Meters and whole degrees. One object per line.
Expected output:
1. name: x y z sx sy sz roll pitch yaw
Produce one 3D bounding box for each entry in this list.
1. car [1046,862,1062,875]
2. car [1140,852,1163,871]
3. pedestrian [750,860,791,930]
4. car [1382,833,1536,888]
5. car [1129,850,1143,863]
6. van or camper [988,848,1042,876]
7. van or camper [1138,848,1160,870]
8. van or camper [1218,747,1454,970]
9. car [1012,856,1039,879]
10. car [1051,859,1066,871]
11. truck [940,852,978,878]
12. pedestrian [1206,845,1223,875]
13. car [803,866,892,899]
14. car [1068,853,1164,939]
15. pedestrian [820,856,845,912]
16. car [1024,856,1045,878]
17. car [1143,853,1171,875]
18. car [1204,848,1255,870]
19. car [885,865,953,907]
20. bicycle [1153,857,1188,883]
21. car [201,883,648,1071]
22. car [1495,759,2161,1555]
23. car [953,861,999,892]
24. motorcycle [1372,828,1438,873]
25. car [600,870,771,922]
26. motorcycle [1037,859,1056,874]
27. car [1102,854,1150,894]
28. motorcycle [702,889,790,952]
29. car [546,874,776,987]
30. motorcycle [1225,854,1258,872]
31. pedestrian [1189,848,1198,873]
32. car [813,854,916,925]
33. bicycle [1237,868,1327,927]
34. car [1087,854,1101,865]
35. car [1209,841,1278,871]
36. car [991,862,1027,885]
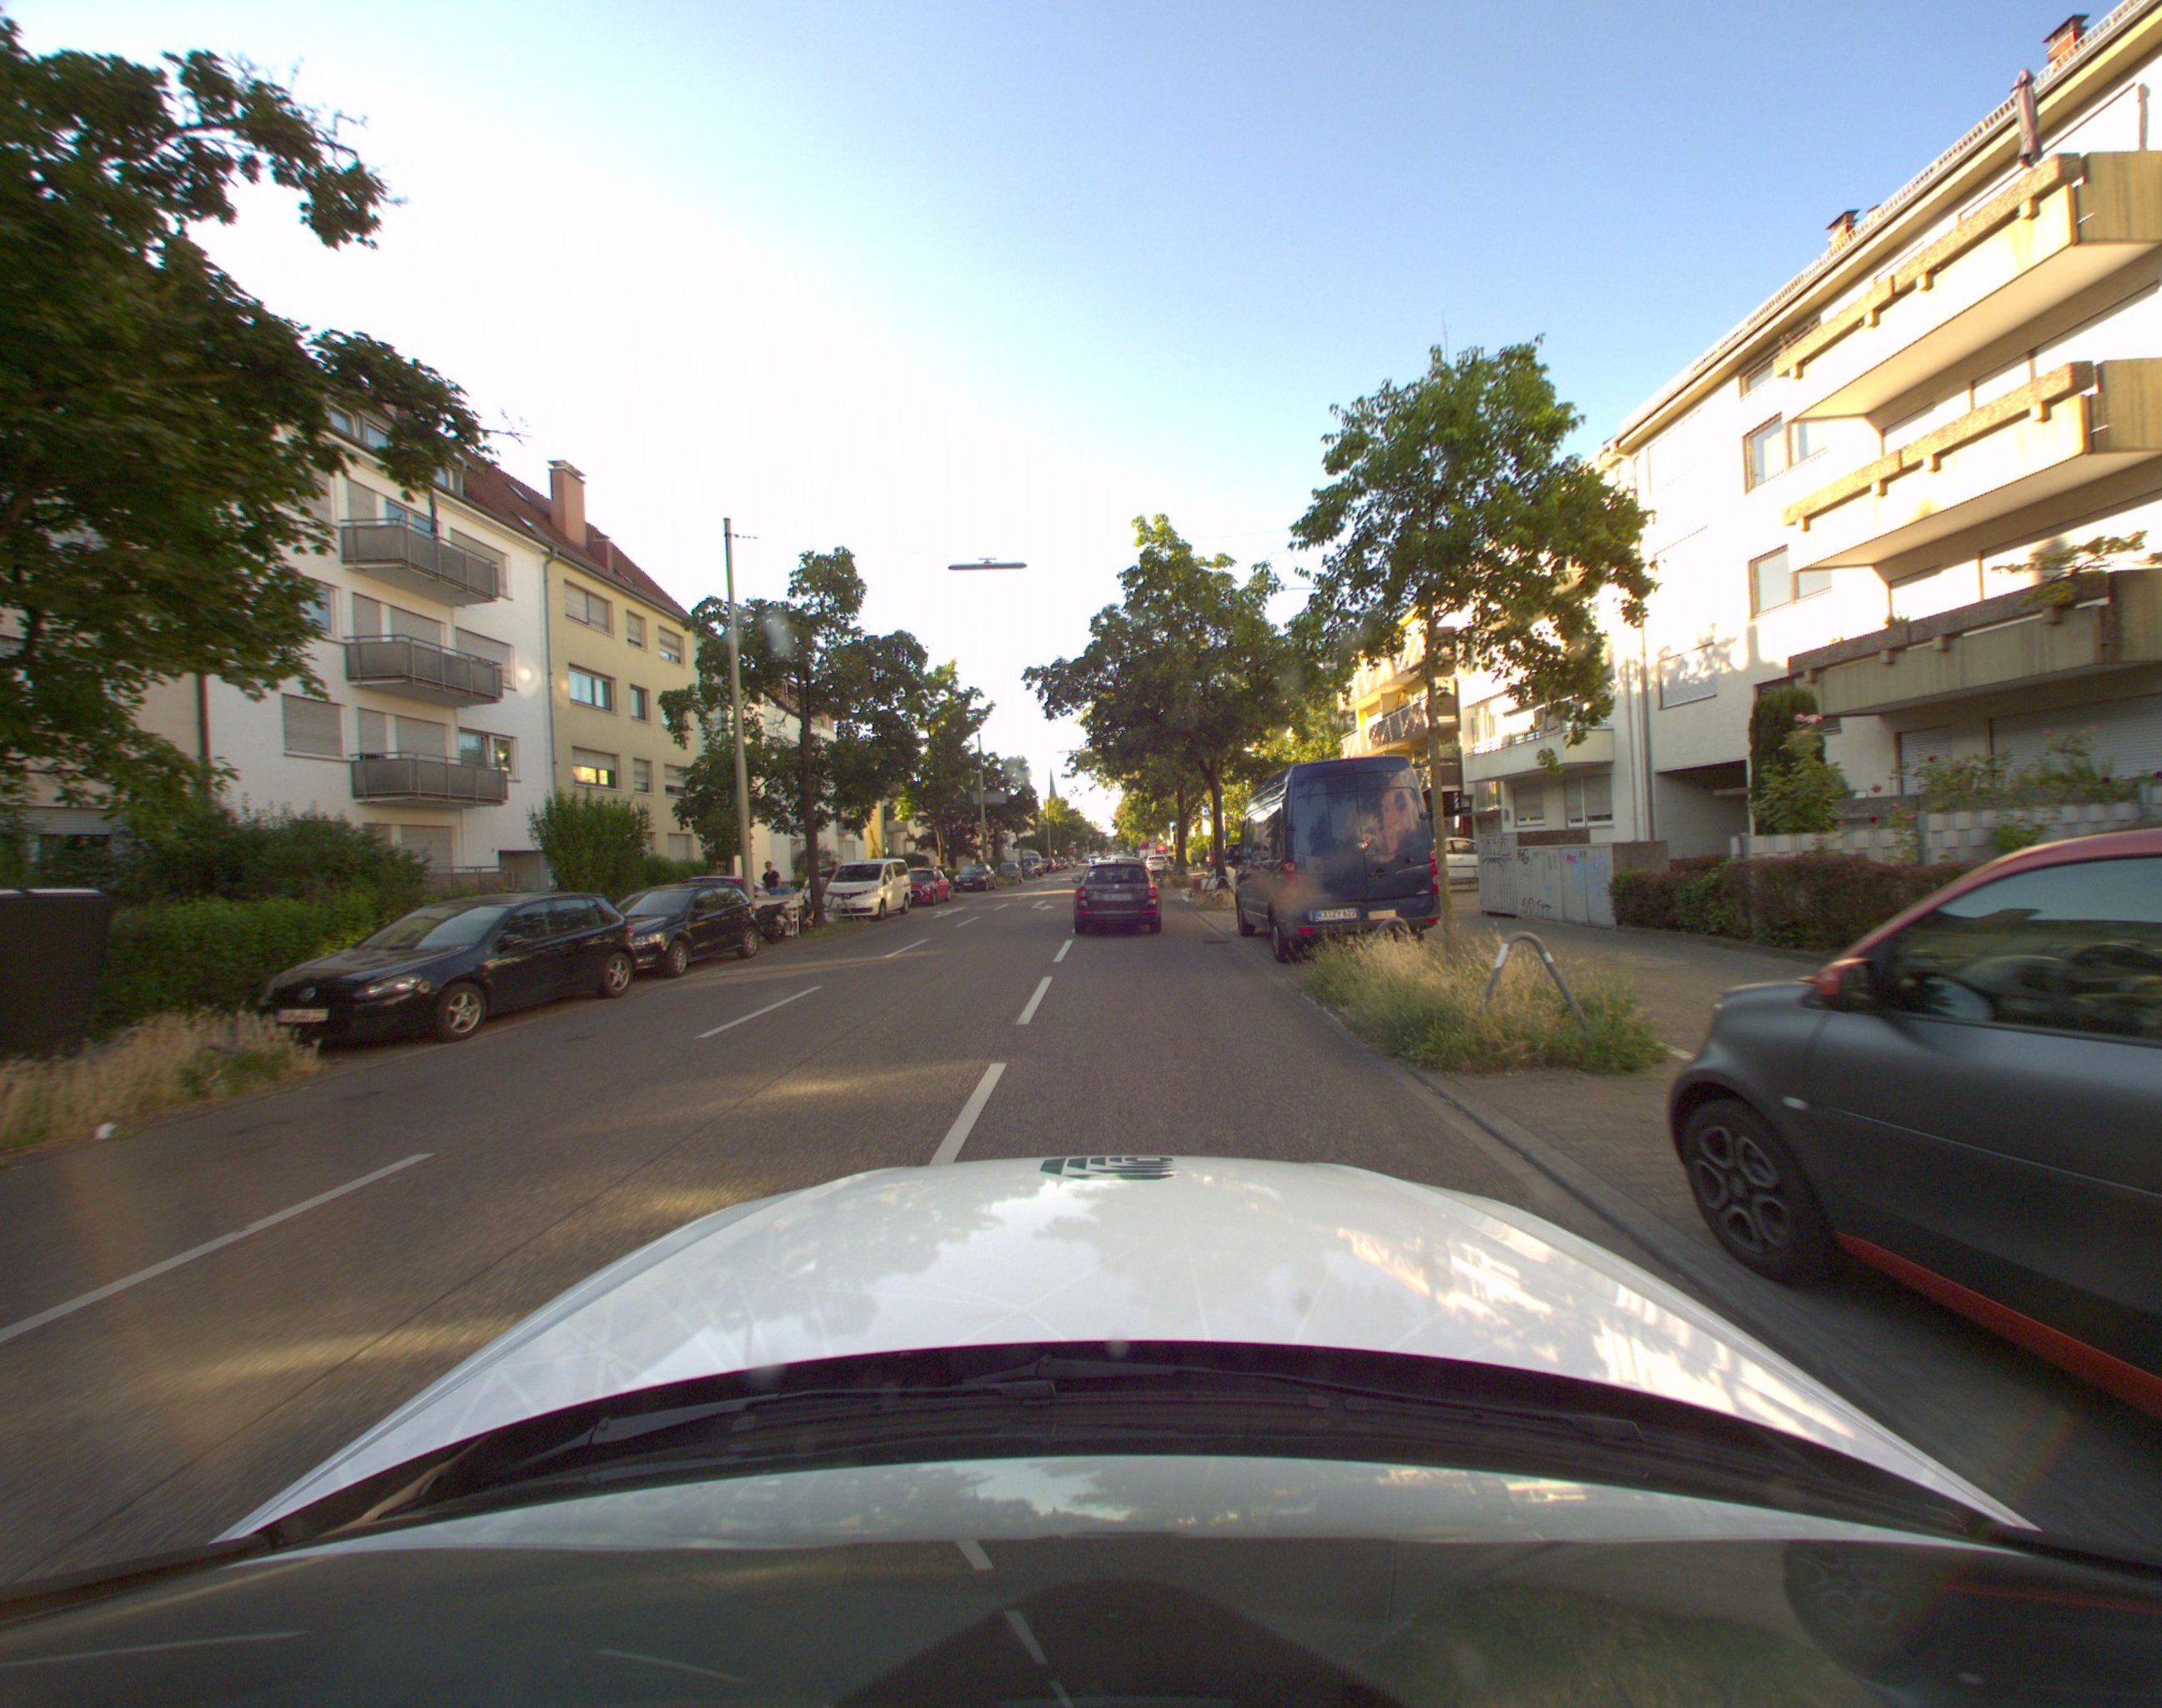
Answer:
1. car: -3.266 1.804 99.201 1.658 1.432 3.277 -3 0 2
2. car: 5.814 0.620 67.224 1.813 1.413 4.116 -3 0 4
3. pedestrian: -9.412 1.225 24.723 0.764 2.013 0.976 -3 0 2
4. car: 11.856 0.192 25.700 3.975 1.462 1.824 -3 0 -1
5. car: 8.002 0.327 118.416 1.723 1.815 3.951 -3 0 1
6. van or camper: -9.778 1.169 120.443 7.615 3.874 2.000 -3 0 0
7. van or camper: 6.872 0.492 82.622 1.986 2.013 4.003 -3 0 2
8. van or camper: 3.660 0.091 13.097 2.059 2.675 5.993 -3 -1 3
9. car: -4.671 1.117 69.016 1.743 1.740 3.593 -3 0 2
10. car: -3.049 1.458 110.197 1.658 1.432 3.277 -3 0 2
11. truck: -10.571 0.962 70.603 2.902 2.093 1.547 -3 0 2
12. pedestrian: 8.170 0.363 49.814 0.754 1.796 0.905 -3 0 -3
13. car: -11.905 1.436 41.738 3.976 1.479 1.999 -2 0 -2
14. car: 0.776 0.781 17.164 1.722 1.493 3.955 -3 0 4
15. pedestrian: -9.144 1.087 29.978 0.624 2.013 0.616 -3 0 2
16. car: -4.184 1.150 73.672 1.501 1.757 3.696 -3 0 2
17. car: 5.429 0.660 58.509 1.813 1.413 4.116 -3 0 4
18. car: 12.138 0.411 66.596 3.812 1.525 1.502 -3 0 -20
19. car: -6.314 1.227 32.215 1.710 1.421 3.789 -3 0 3
20. bicycle: 4.751 0.857 42.985 1.658 1.226 0.638 -5 0 15
21. car: -7.267 1.231 9.719 1.743 1.502 4.199 -3 0 3
22. car: 3.097 0.599 2.457 1.767 1.642 3.757 -3 -1 1
23. car: -5.705 1.202 44.550 1.710 1.497 4.250 -3 0 3
24. motorcycle: 12.460 -0.122 31.362 2.181 1.621 0.892 -3 0 8
25. car: -13.109 1.367 27.284 4.712 1.362 1.993 -3 0 -11
26. motorcycle: -3.577 1.297 83.968 0.771 1.512 2.006 -3 0 -40
27. car: 1.860 0.802 34.862 1.725 1.493 3.949 -3 0 -1
28. motorcycle: -7.176 1.396 17.515 0.436 1.192 1.718 -3 0 40
29. car: -7.068 1.200 14.244 1.743 1.502 3.981 -3 0 2
30. motorcycle: 10.833 0.607 54.923 2.046 1.125 0.525 -3 0 -3
31. pedestrian: 8.307 0.490 59.936 0.532 1.794 0.688 -3 0 4
32. car: -6.612 1.016 25.414 1.763 1.919 4.463 -3 0 3
33. bicycle: 4.035 0.872 16.407 1.693 1.089 0.405 -3 0 5
34. car: 2.367 0.938 144.158 1.865 1.757 4.189 -3 0 9
35. car: 11.696 0.124 58.481 4.556 1.892 1.898 -3 0 -25
36. car: -4.939 1.313 56.250 1.747 1.420 4.429 -3 0 3
